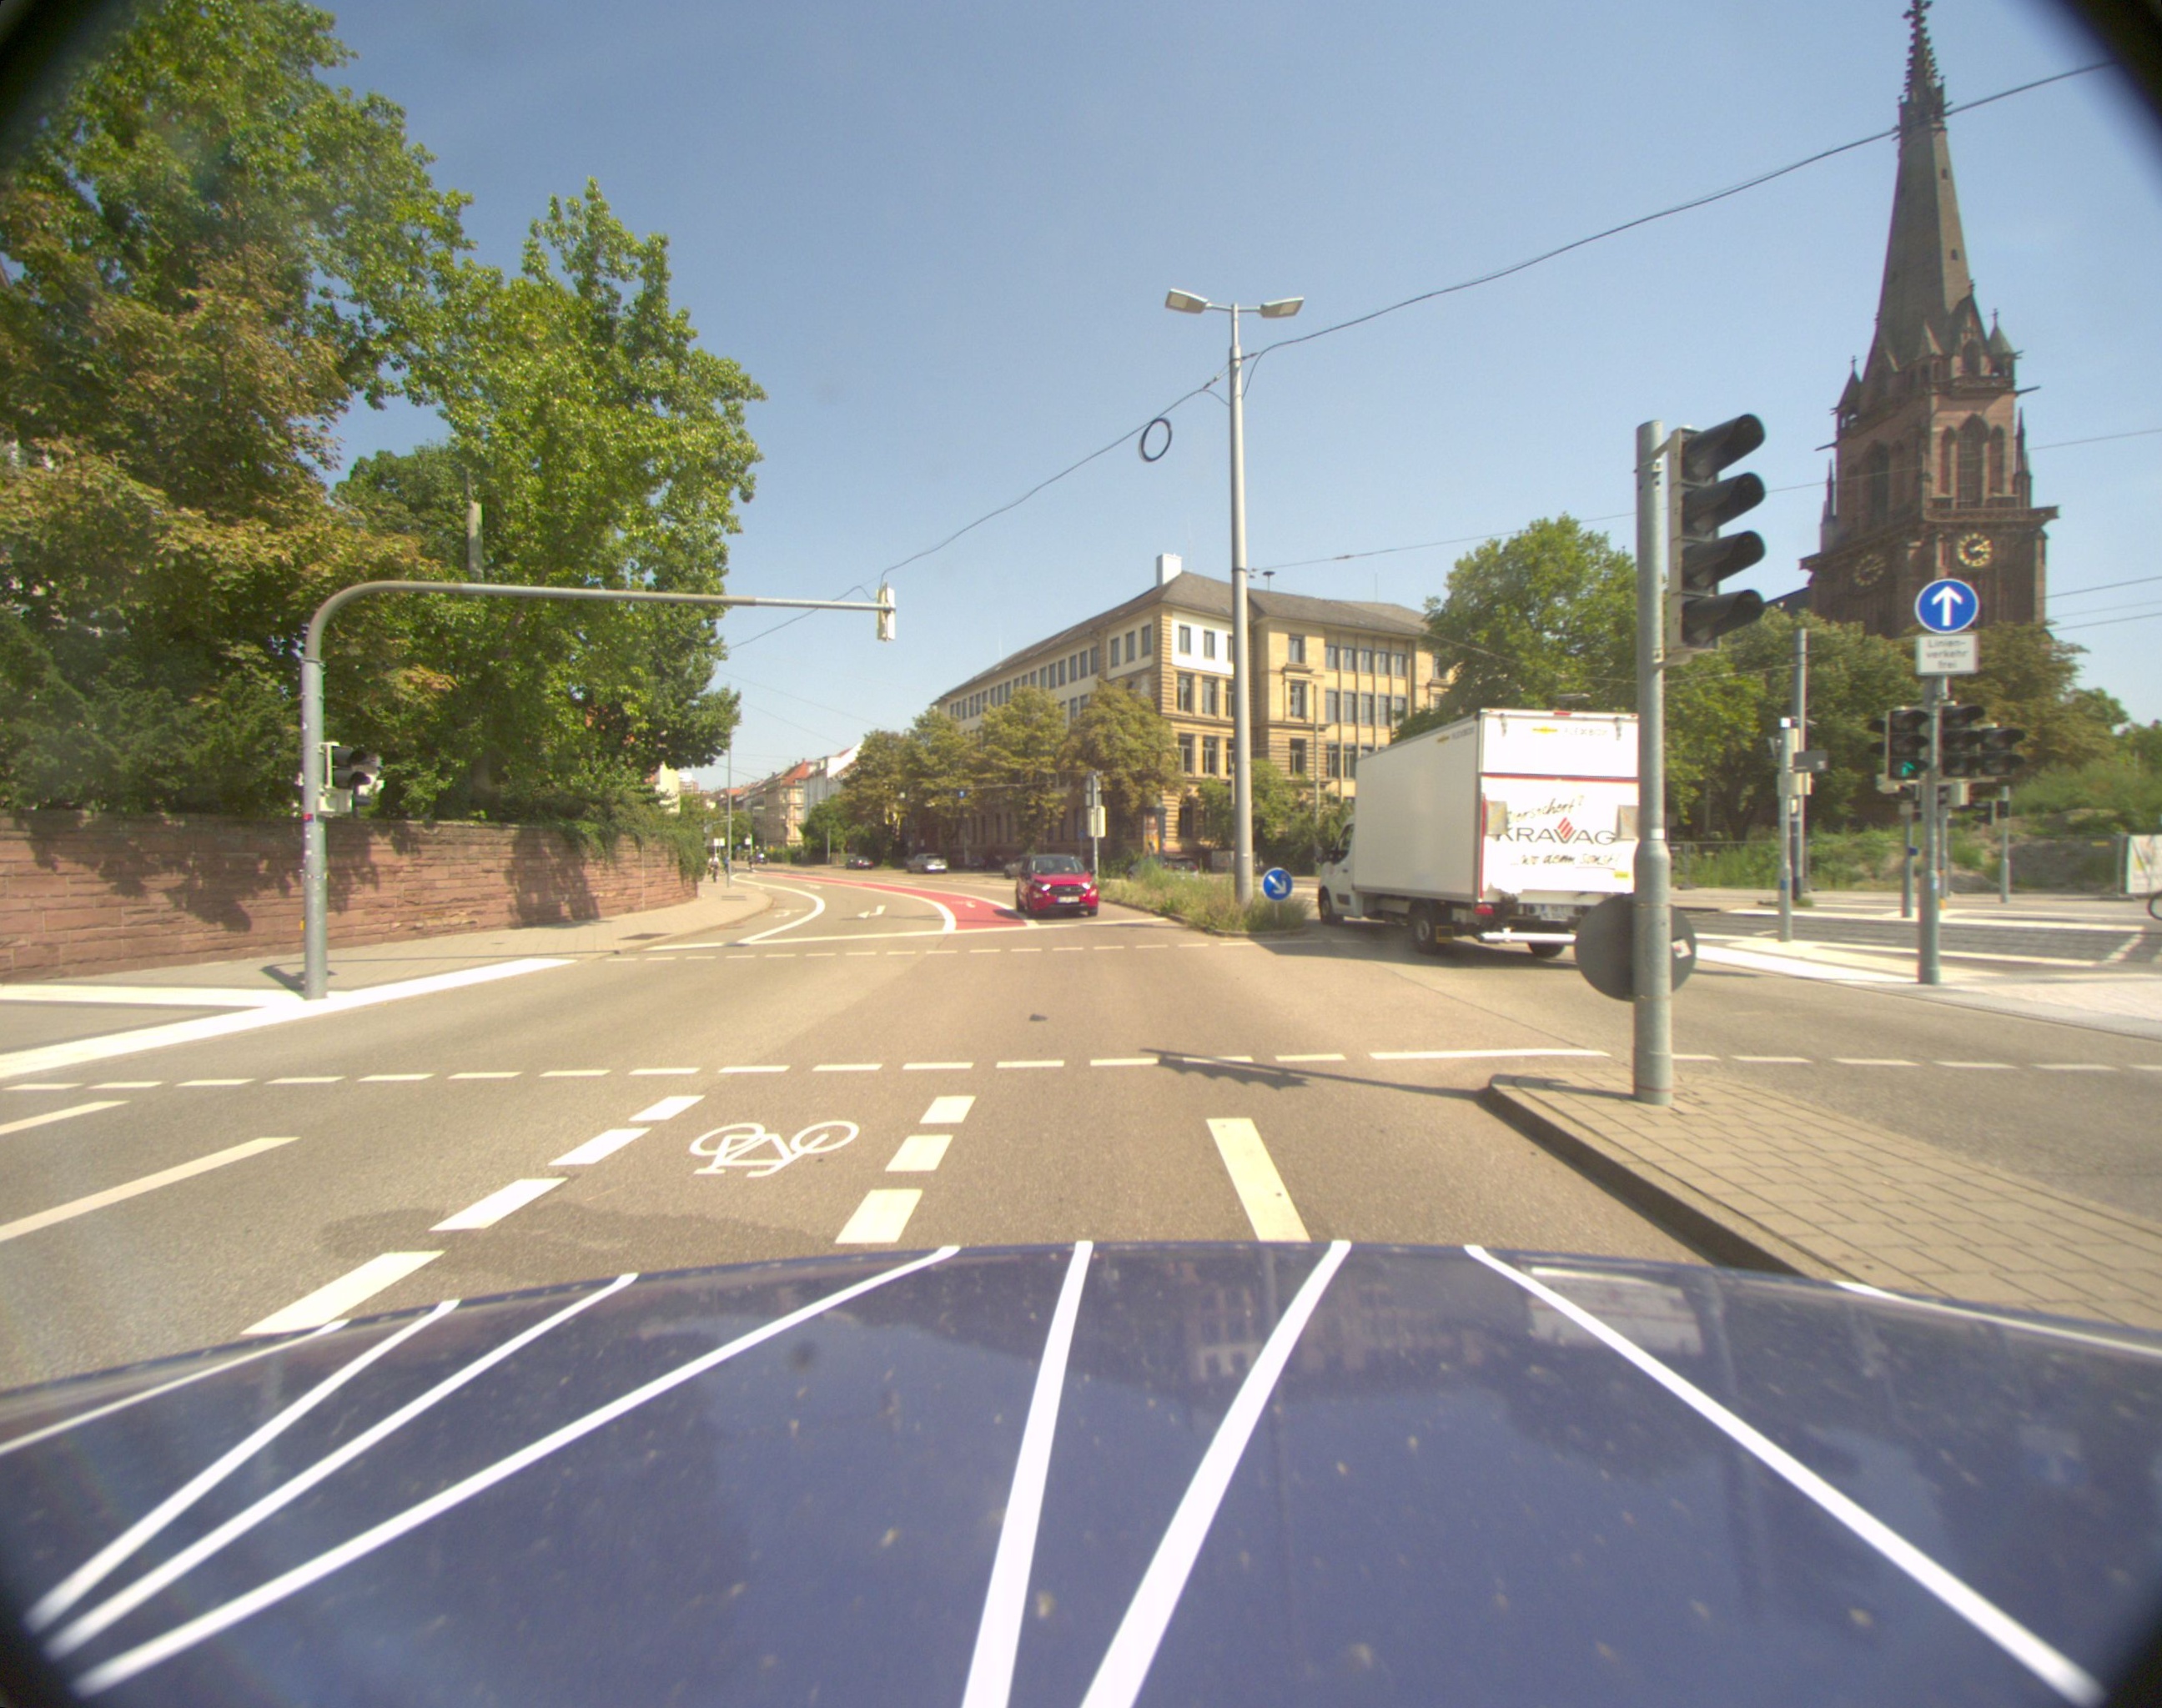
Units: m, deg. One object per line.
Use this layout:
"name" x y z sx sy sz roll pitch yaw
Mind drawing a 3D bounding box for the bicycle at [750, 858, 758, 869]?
"bicycle" -30.953 0.879 71.989 0.616 0.994 1.708 0 0 -20

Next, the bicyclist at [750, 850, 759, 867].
"bicyclist" -30.941 0.392 72.020 0.629 1.589 0.991 0 1 -19

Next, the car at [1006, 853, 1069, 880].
"car" -2.611 0.699 45.151 1.659 1.521 4.313 -1 0 -36

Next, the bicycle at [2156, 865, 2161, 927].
"bicycle" 22.064 0.834 14.510 0.610 1.215 1.701 -1 1 -29

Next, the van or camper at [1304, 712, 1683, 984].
"van or camper" 6.057 -0.081 12.797 2.406 3.287 7.189 0 0 -1

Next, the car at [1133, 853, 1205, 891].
"car" 3.776 0.727 33.363 1.703 1.521 4.177 0 0 -15

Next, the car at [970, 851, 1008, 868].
"car" -8.370 0.468 69.501 1.817 1.487 4.170 -1 0 20

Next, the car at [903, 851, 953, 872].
"car" -12.094 0.583 59.809 1.781 1.601 4.660 -1 1 -41

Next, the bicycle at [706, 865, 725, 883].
"bicycle" -22.426 1.226 46.558 0.743 1.043 2.227 -1 1 -33

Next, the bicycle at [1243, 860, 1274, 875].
"bicycle" 11.664 0.883 49.838 2.184 0.889 0.748 -1 1 -37

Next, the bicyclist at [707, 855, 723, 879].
"bicyclist" -22.383 0.778 46.447 0.748 1.403 0.959 -1 1 -33

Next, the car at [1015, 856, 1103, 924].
"car" -0.685 0.864 19.995 1.817 1.542 4.017 -1 0 -9

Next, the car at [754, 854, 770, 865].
"car" -48.597 0.839 115.775 1.699 1.645 3.571 -2 1 -33

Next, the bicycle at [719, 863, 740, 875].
"bicycle" -29.616 1.248 63.990 0.614 0.994 1.714 0 -1 17

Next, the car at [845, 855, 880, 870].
"car" -21.497 0.791 74.671 1.696 1.370 4.605 -1 1 -38

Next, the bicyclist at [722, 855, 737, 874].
"bicyclist" -29.614 0.877 63.985 0.627 1.530 0.905 1 -1 18

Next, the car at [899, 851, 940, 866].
"car" -17.478 0.474 82.531 1.816 1.453 4.437 -1 1 30
